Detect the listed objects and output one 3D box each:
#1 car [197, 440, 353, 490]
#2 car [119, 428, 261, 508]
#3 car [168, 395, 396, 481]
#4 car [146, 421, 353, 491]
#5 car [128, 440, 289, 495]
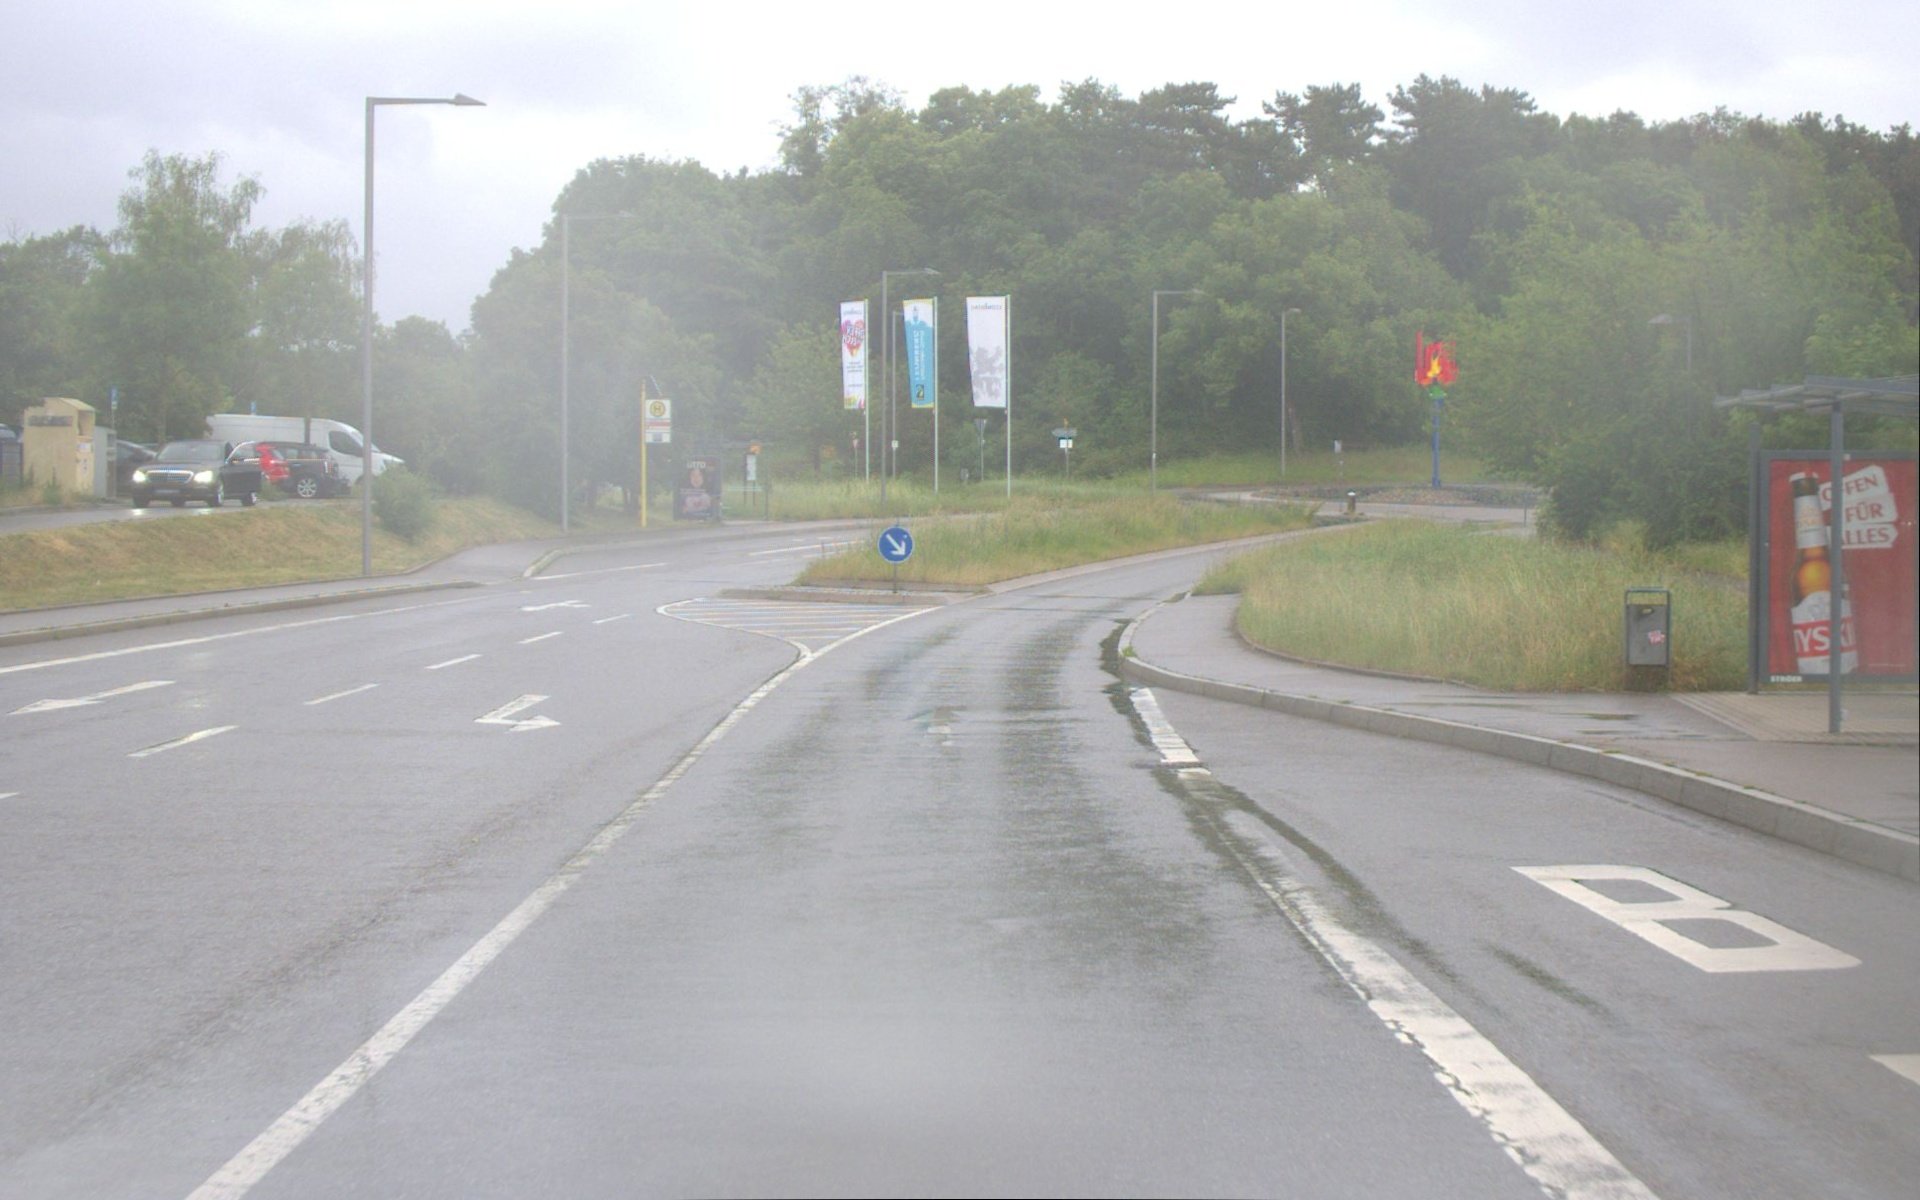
[{"bbox_3d":[-19.658,-3.876,98.731,3.988,1.359,1.847,1,2,7],"label":"car"},{"bbox_3d":[-16.686,-2.895,74.676,1.691,1.562,4.542,4,4,4],"label":"car"},{"bbox_3d":[-20.981,-5.003,106.521,6.555,2.389,2.139,2,1,1],"label":"car"},{"bbox_3d":[-17.888,-3.621,86.668,4.707,1.687,2.005,0,2,5],"label":"car"},{"bbox_3d":[-20.916,-3.701,95.758,3.988,1.464,1.848,1,2,6],"label":"car"}]
